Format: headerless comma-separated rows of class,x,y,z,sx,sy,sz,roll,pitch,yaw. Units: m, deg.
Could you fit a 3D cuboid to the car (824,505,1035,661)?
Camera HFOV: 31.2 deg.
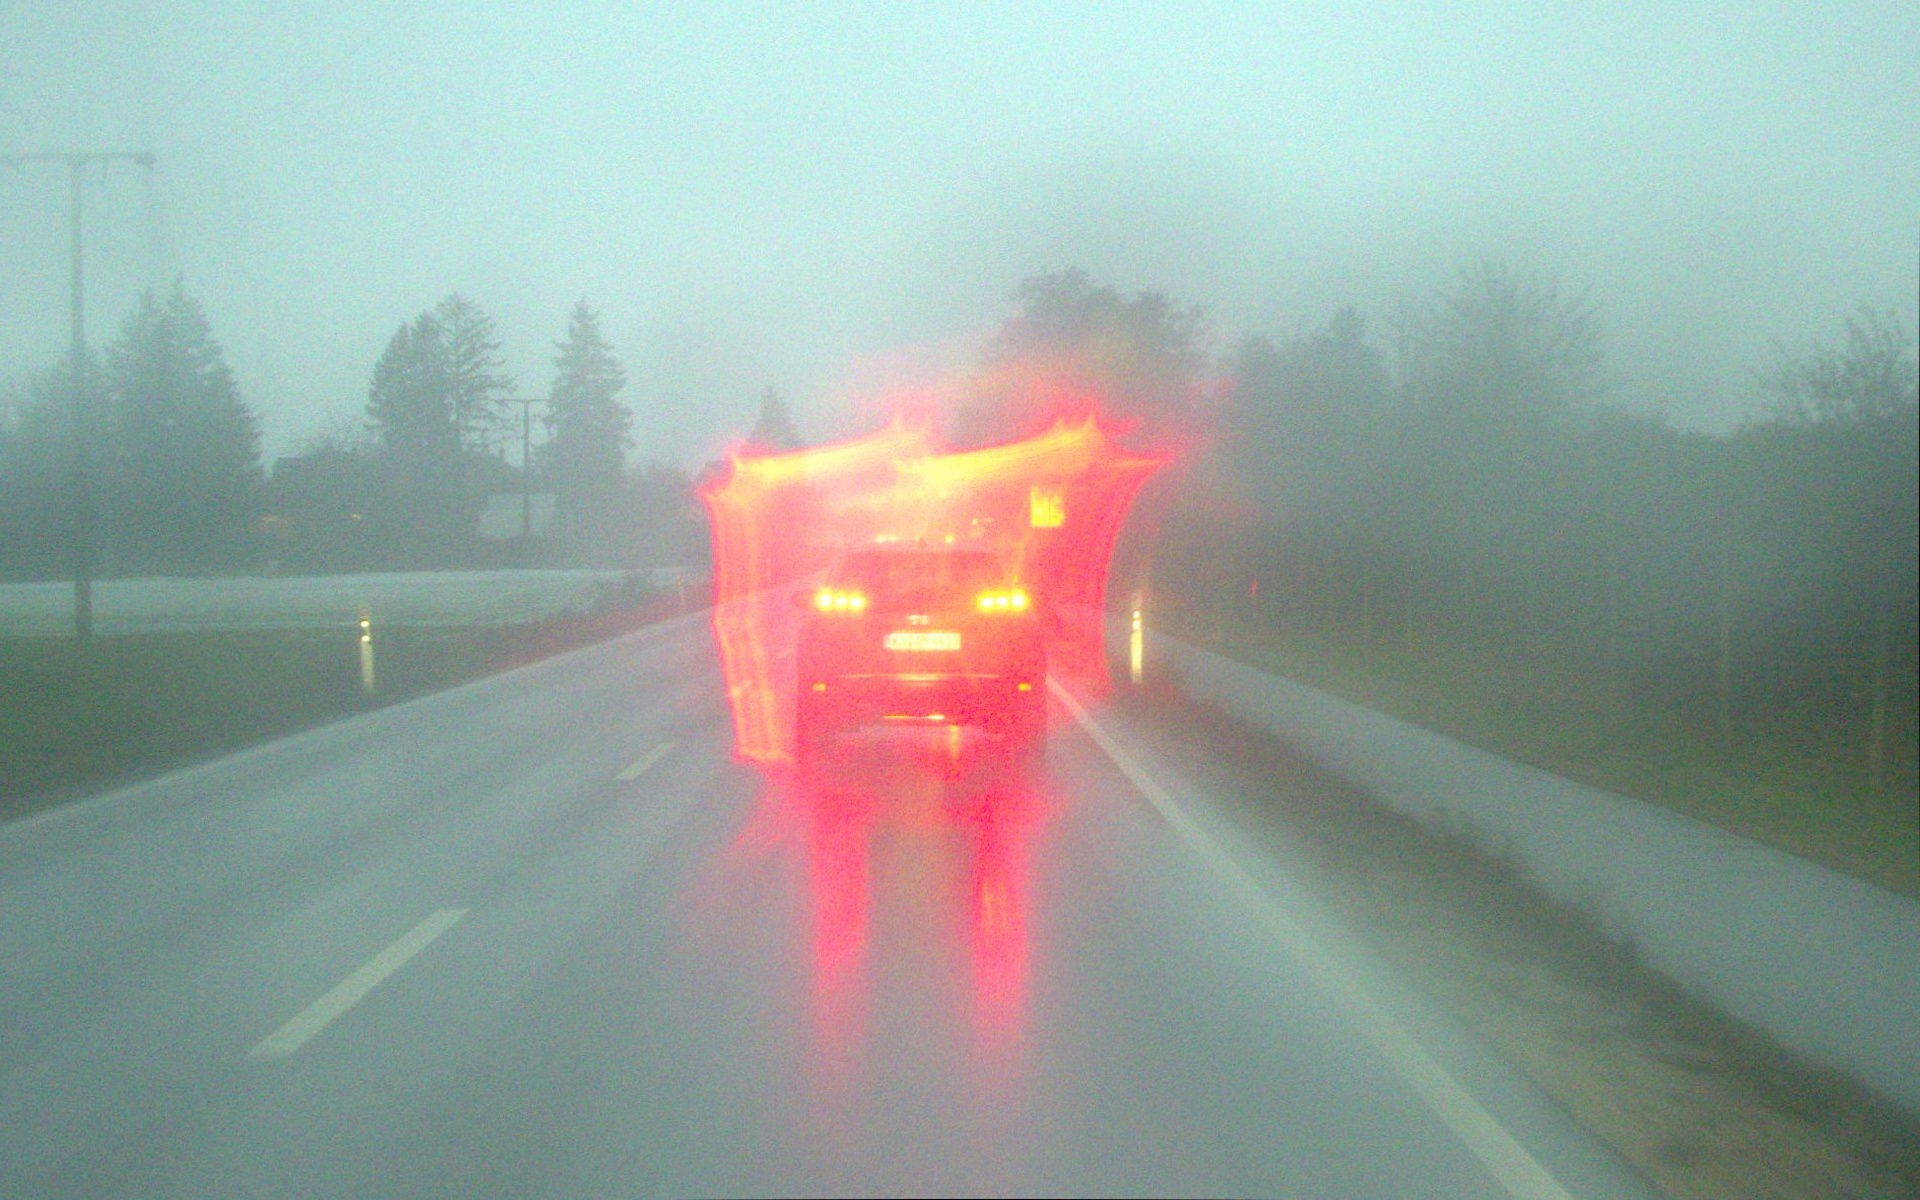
car,-0.397,-0.295,48.628,2.756,2.028,6.591,-1,1,0

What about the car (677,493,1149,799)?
car,-0.308,0.238,26.697,3.164,2.028,6.852,-1,1,0
